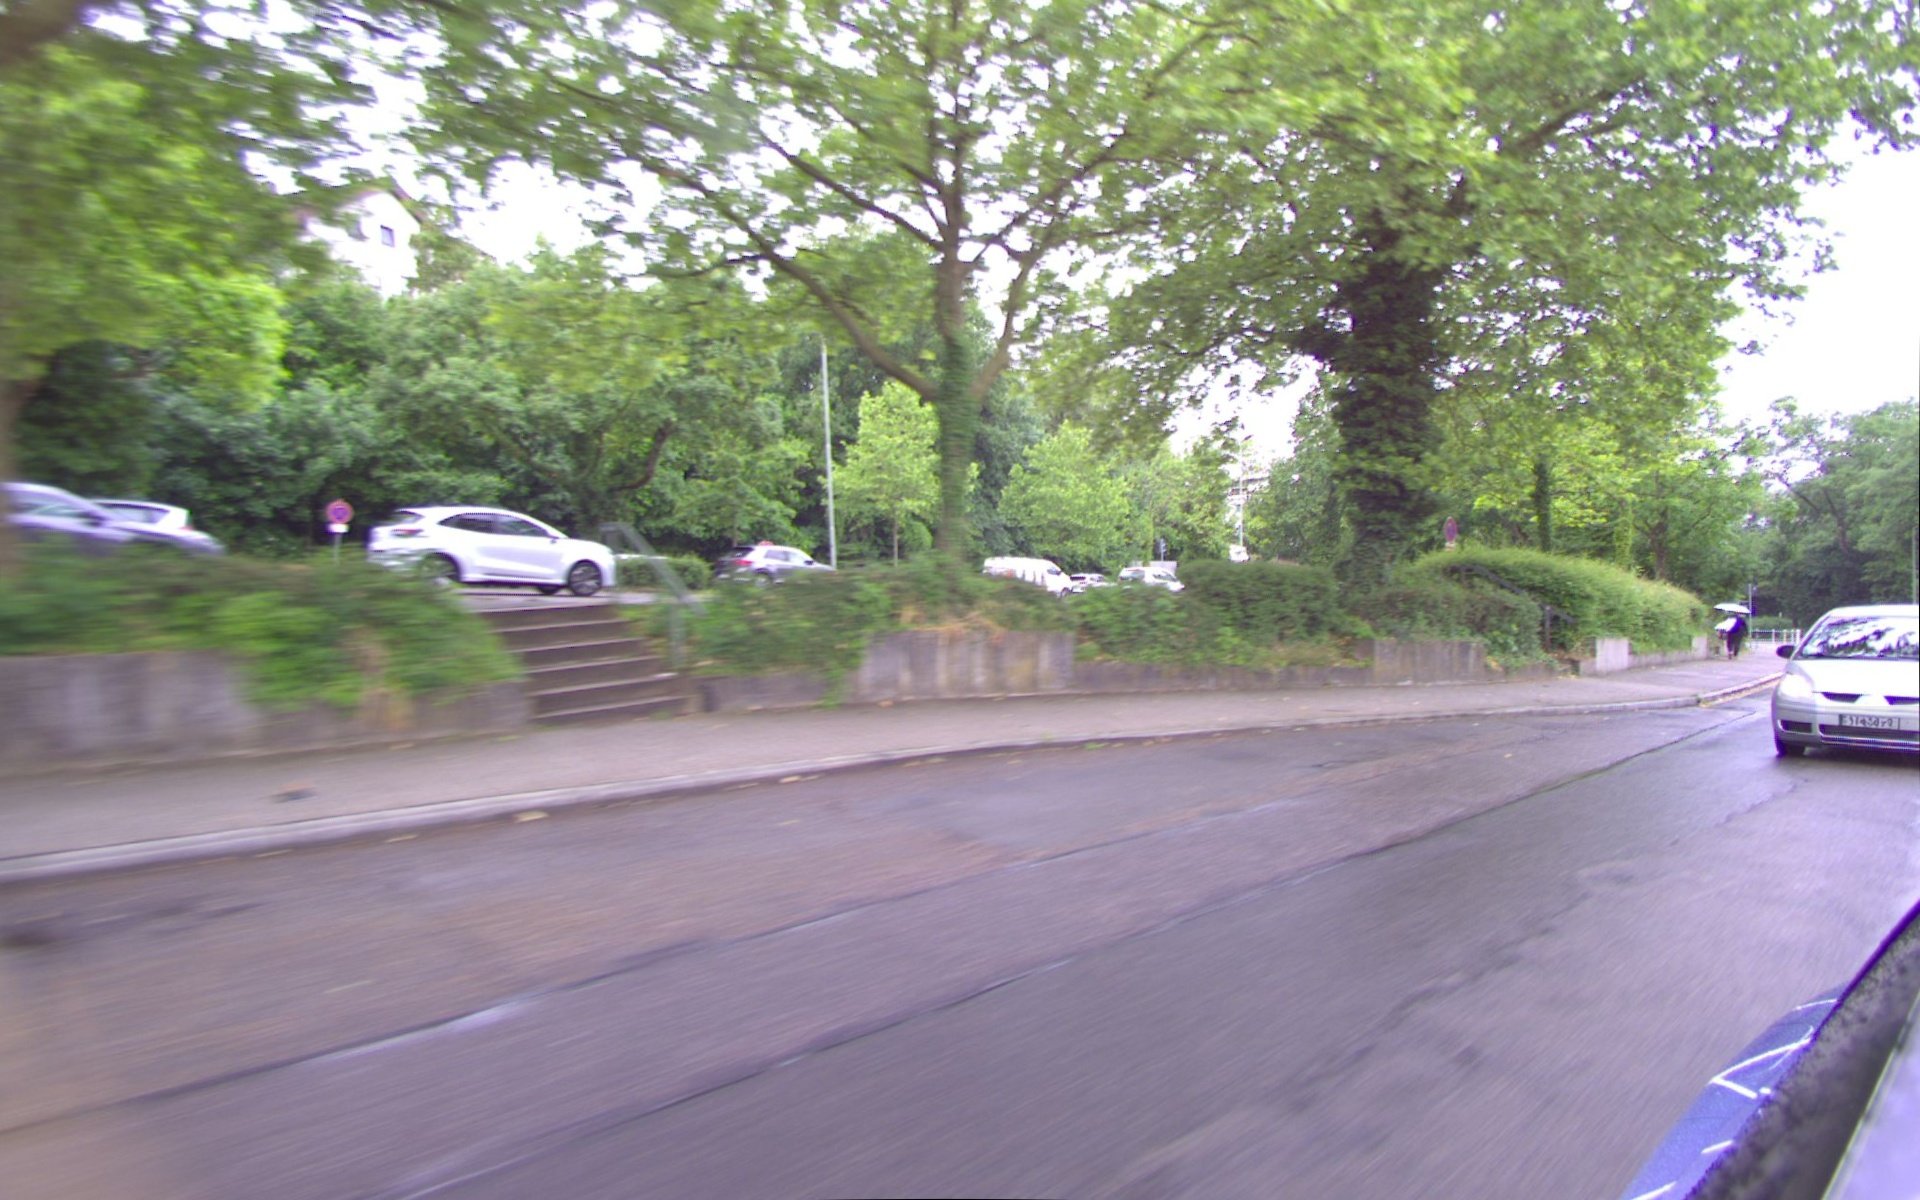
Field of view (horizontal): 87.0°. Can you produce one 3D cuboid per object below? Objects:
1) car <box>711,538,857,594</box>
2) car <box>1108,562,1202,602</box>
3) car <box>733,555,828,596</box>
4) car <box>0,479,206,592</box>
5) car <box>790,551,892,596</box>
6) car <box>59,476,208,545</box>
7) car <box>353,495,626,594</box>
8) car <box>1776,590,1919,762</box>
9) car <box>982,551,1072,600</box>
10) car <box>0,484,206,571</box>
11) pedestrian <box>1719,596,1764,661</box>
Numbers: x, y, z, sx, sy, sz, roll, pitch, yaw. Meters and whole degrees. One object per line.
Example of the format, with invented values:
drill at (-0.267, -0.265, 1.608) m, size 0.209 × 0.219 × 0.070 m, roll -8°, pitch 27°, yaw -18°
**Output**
car at (-5.344, -0.986, 31.040) m, size 1.894 × 1.472 × 4.104 m, roll -2°, pitch -2°, yaw 44°
car at (8.124, -0.708, 41.914) m, size 1.894 × 1.472 × 4.104 m, roll -2°, pitch -2°, yaw 44°
car at (-7.402, -0.972, 41.880) m, size 3.569 × 1.543 × 1.703 m, roll 1°, pitch -2°, yaw -45°
car at (-13.779, -0.919, 14.895) m, size 4.101 × 1.472 × 1.895 m, roll 1°, pitch -2°, yaw -44°
car at (-4.508, -0.983, 38.648) m, size 3.569 × 1.543 × 1.703 m, roll 1°, pitch -2°, yaw -45°
car at (-25.667, -2.729, 31.440) m, size 4.129 × 1.792 × 1.790 m, roll -1°, pitch -2°, yaw 22°
car at (-8.435, -0.899, 18.372) m, size 1.894 × 1.472 × 4.104 m, roll -2°, pitch -2°, yaw 44°
car at (10.022, 0.691, 10.555) m, size 3.929 × 1.523 × 1.639 m, roll 0°, pitch 1°, yaw -40°
car at (3.070, -1.070, 45.995) m, size 4.283 × 2.040 × 1.702 m, roll 1°, pitch -2°, yaw -45°
car at (-16.760, -1.333, 19.128) m, size 1.734 × 1.352 × 3.726 m, roll -1°, pitch -2°, yaw 40°
pedestrian at (24.020, 0.843, 31.109) m, size 1.050 × 1.917 × 1.117 m, roll 1°, pitch 2°, yaw 40°
